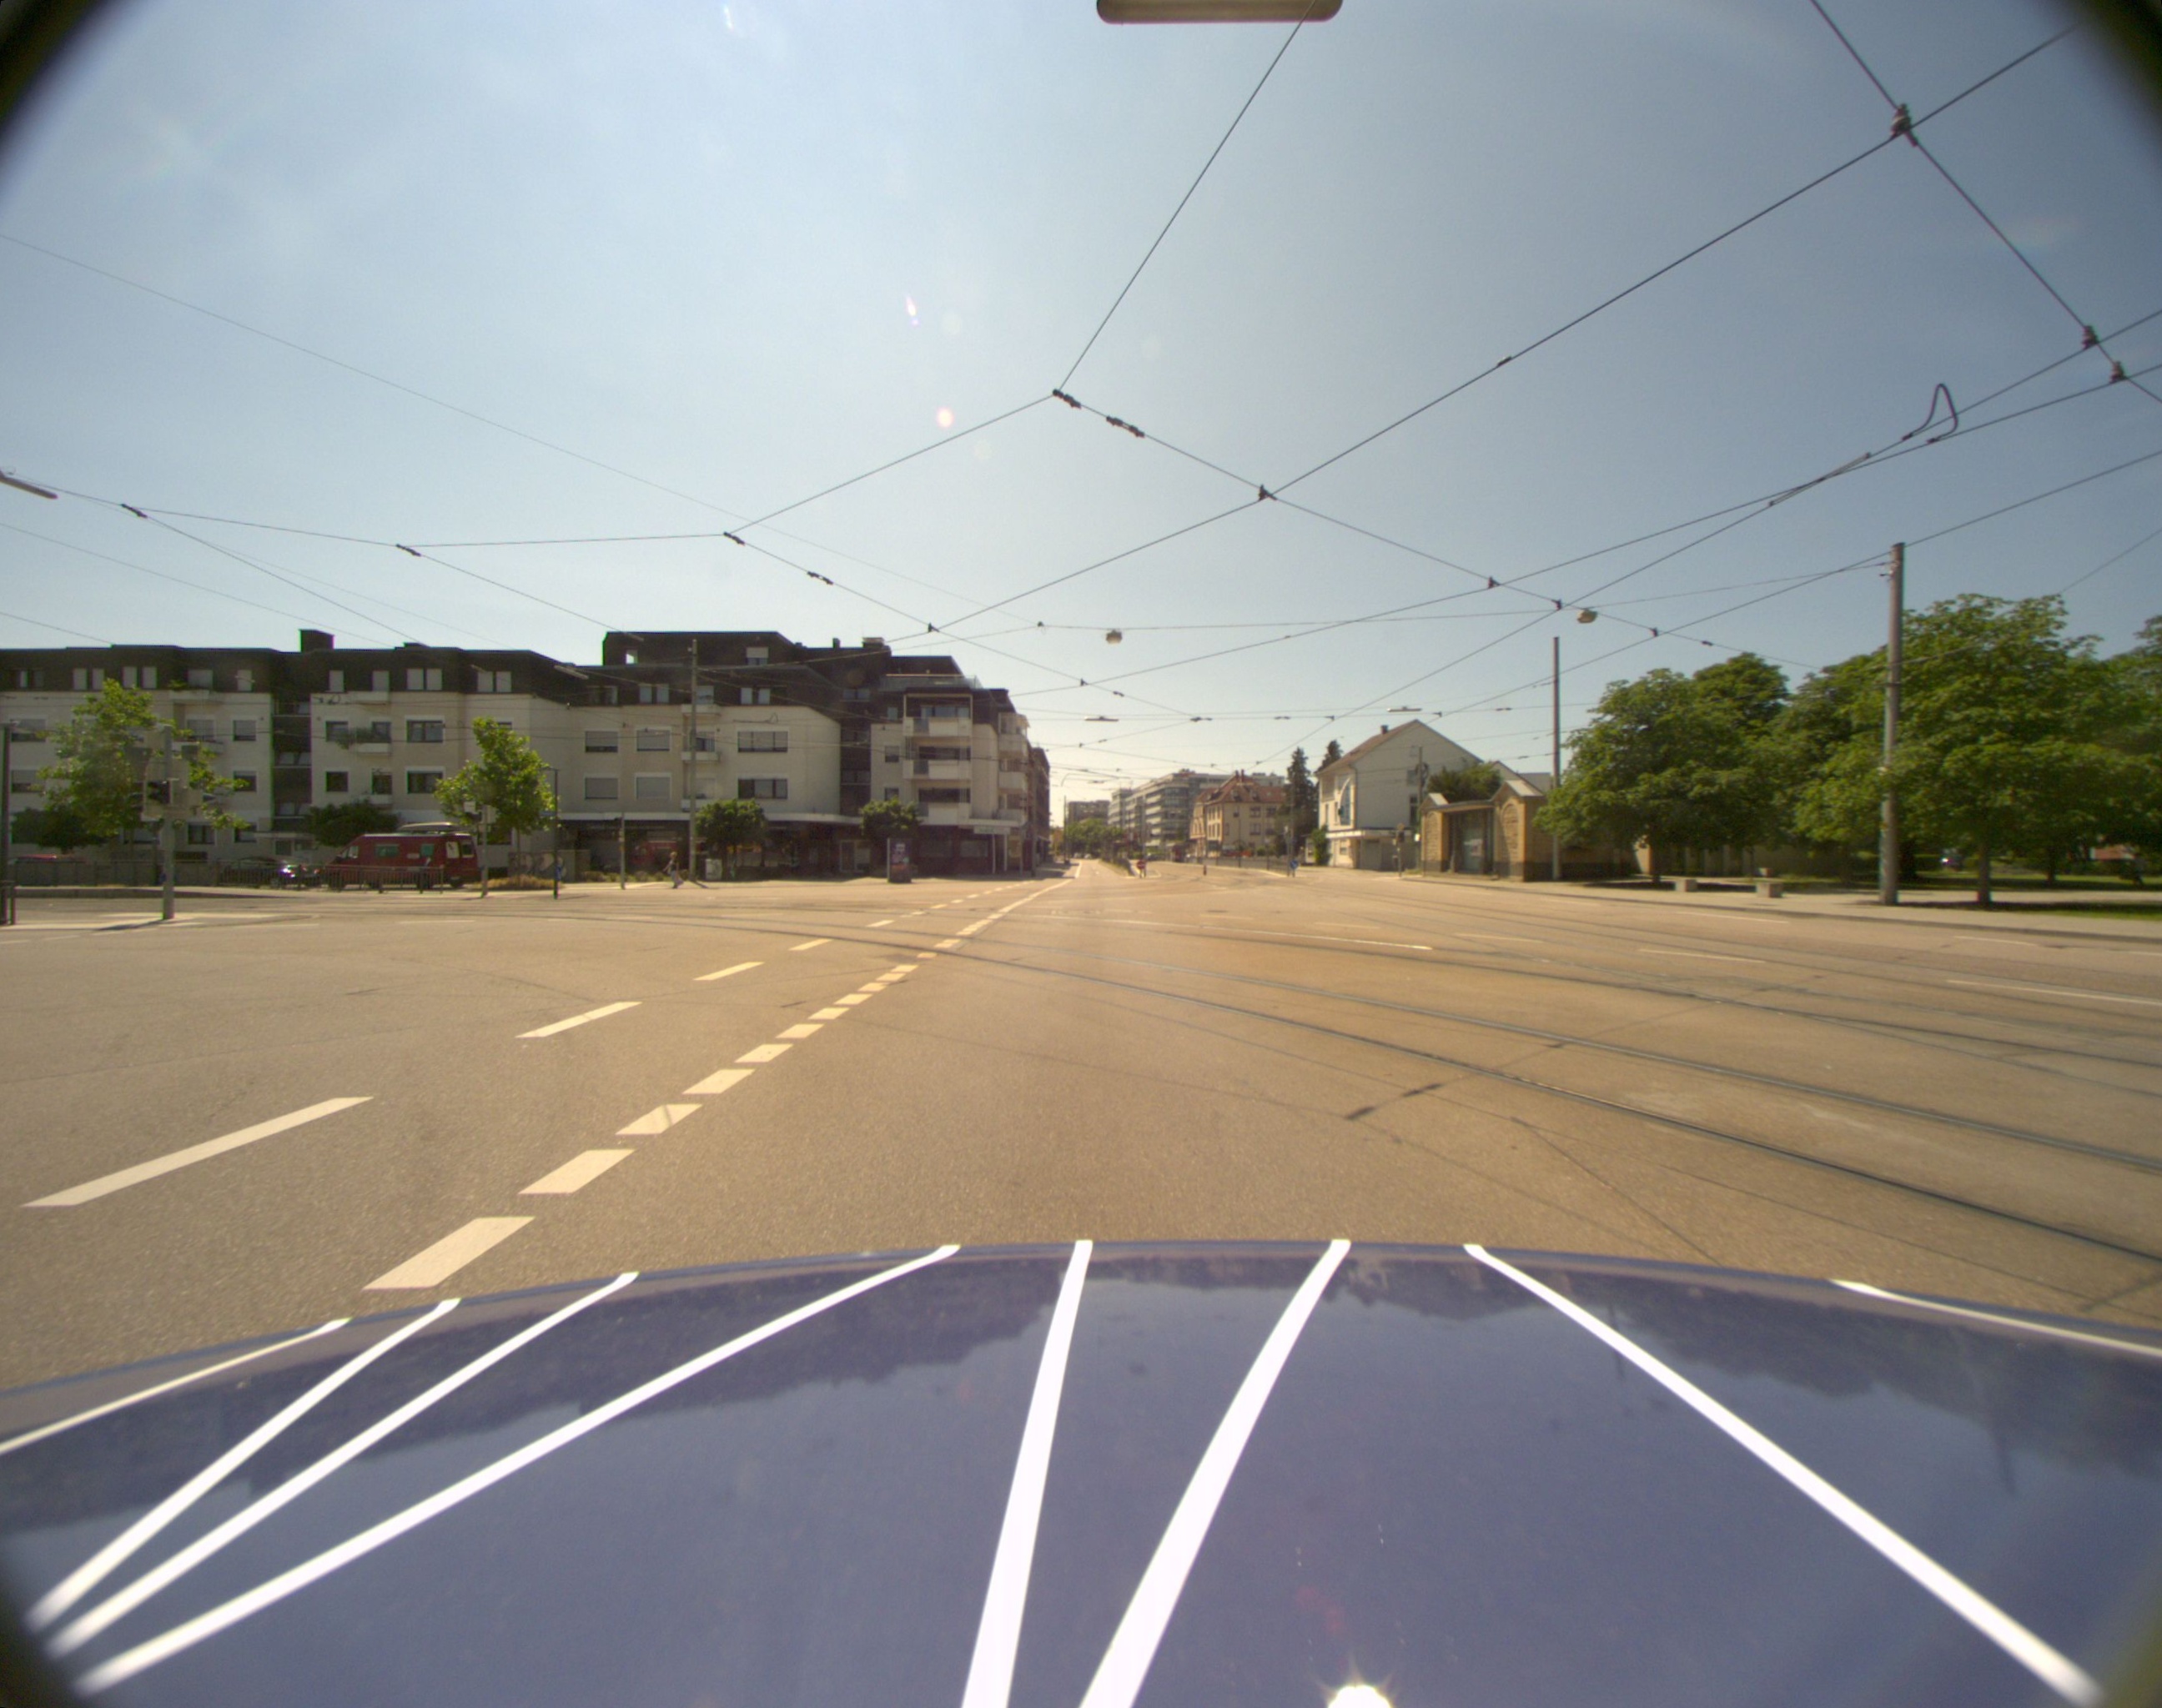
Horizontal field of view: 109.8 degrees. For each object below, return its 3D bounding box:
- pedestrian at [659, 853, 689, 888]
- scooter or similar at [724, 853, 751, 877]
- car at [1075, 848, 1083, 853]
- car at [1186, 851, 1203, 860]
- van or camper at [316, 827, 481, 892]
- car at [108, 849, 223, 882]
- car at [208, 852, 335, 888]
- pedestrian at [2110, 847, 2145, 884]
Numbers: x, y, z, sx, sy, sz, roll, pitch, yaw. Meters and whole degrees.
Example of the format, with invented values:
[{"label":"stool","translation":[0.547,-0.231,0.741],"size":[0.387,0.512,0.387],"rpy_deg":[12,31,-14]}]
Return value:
[{"label":"pedestrian","translation":[-18.276,0.733,34.106],"size":[0.827,1.574,0.827],"rpy_deg":[0,1,11]},{"label":"scooter or similar","translation":[-17.565,0.538,38.867],"size":[1.257,1.206,0.393],"rpy_deg":[-1,1,-26]},{"label":"car","translation":[-0.630,-1.240,253.889],"size":[1.861,1.806,4.694],"rpy_deg":[0,0,-8]},{"label":"car","translation":[18.148,0.222,121.660],"size":[1.823,1.481,4.498],"rpy_deg":[0,0,-2]},{"label":"van or camper","translation":[-30.021,0.221,33.568],"size":[5.237,2.749,2.208],"rpy_deg":[0,1,-1]},{"label":"car","translation":[-45.622,0.546,37.910],"size":[3.650,1.600,1.653],"rpy_deg":[0,1,-1]},{"label":"car","translation":[-35.835,0.686,33.701],"size":[3.803,1.538,1.678],"rpy_deg":[0,1,-1]},{"label":"pedestrian","translation":[46.407,0.511,33.705],"size":[0.528,1.638,0.712],"rpy_deg":[0,1,0]}]
